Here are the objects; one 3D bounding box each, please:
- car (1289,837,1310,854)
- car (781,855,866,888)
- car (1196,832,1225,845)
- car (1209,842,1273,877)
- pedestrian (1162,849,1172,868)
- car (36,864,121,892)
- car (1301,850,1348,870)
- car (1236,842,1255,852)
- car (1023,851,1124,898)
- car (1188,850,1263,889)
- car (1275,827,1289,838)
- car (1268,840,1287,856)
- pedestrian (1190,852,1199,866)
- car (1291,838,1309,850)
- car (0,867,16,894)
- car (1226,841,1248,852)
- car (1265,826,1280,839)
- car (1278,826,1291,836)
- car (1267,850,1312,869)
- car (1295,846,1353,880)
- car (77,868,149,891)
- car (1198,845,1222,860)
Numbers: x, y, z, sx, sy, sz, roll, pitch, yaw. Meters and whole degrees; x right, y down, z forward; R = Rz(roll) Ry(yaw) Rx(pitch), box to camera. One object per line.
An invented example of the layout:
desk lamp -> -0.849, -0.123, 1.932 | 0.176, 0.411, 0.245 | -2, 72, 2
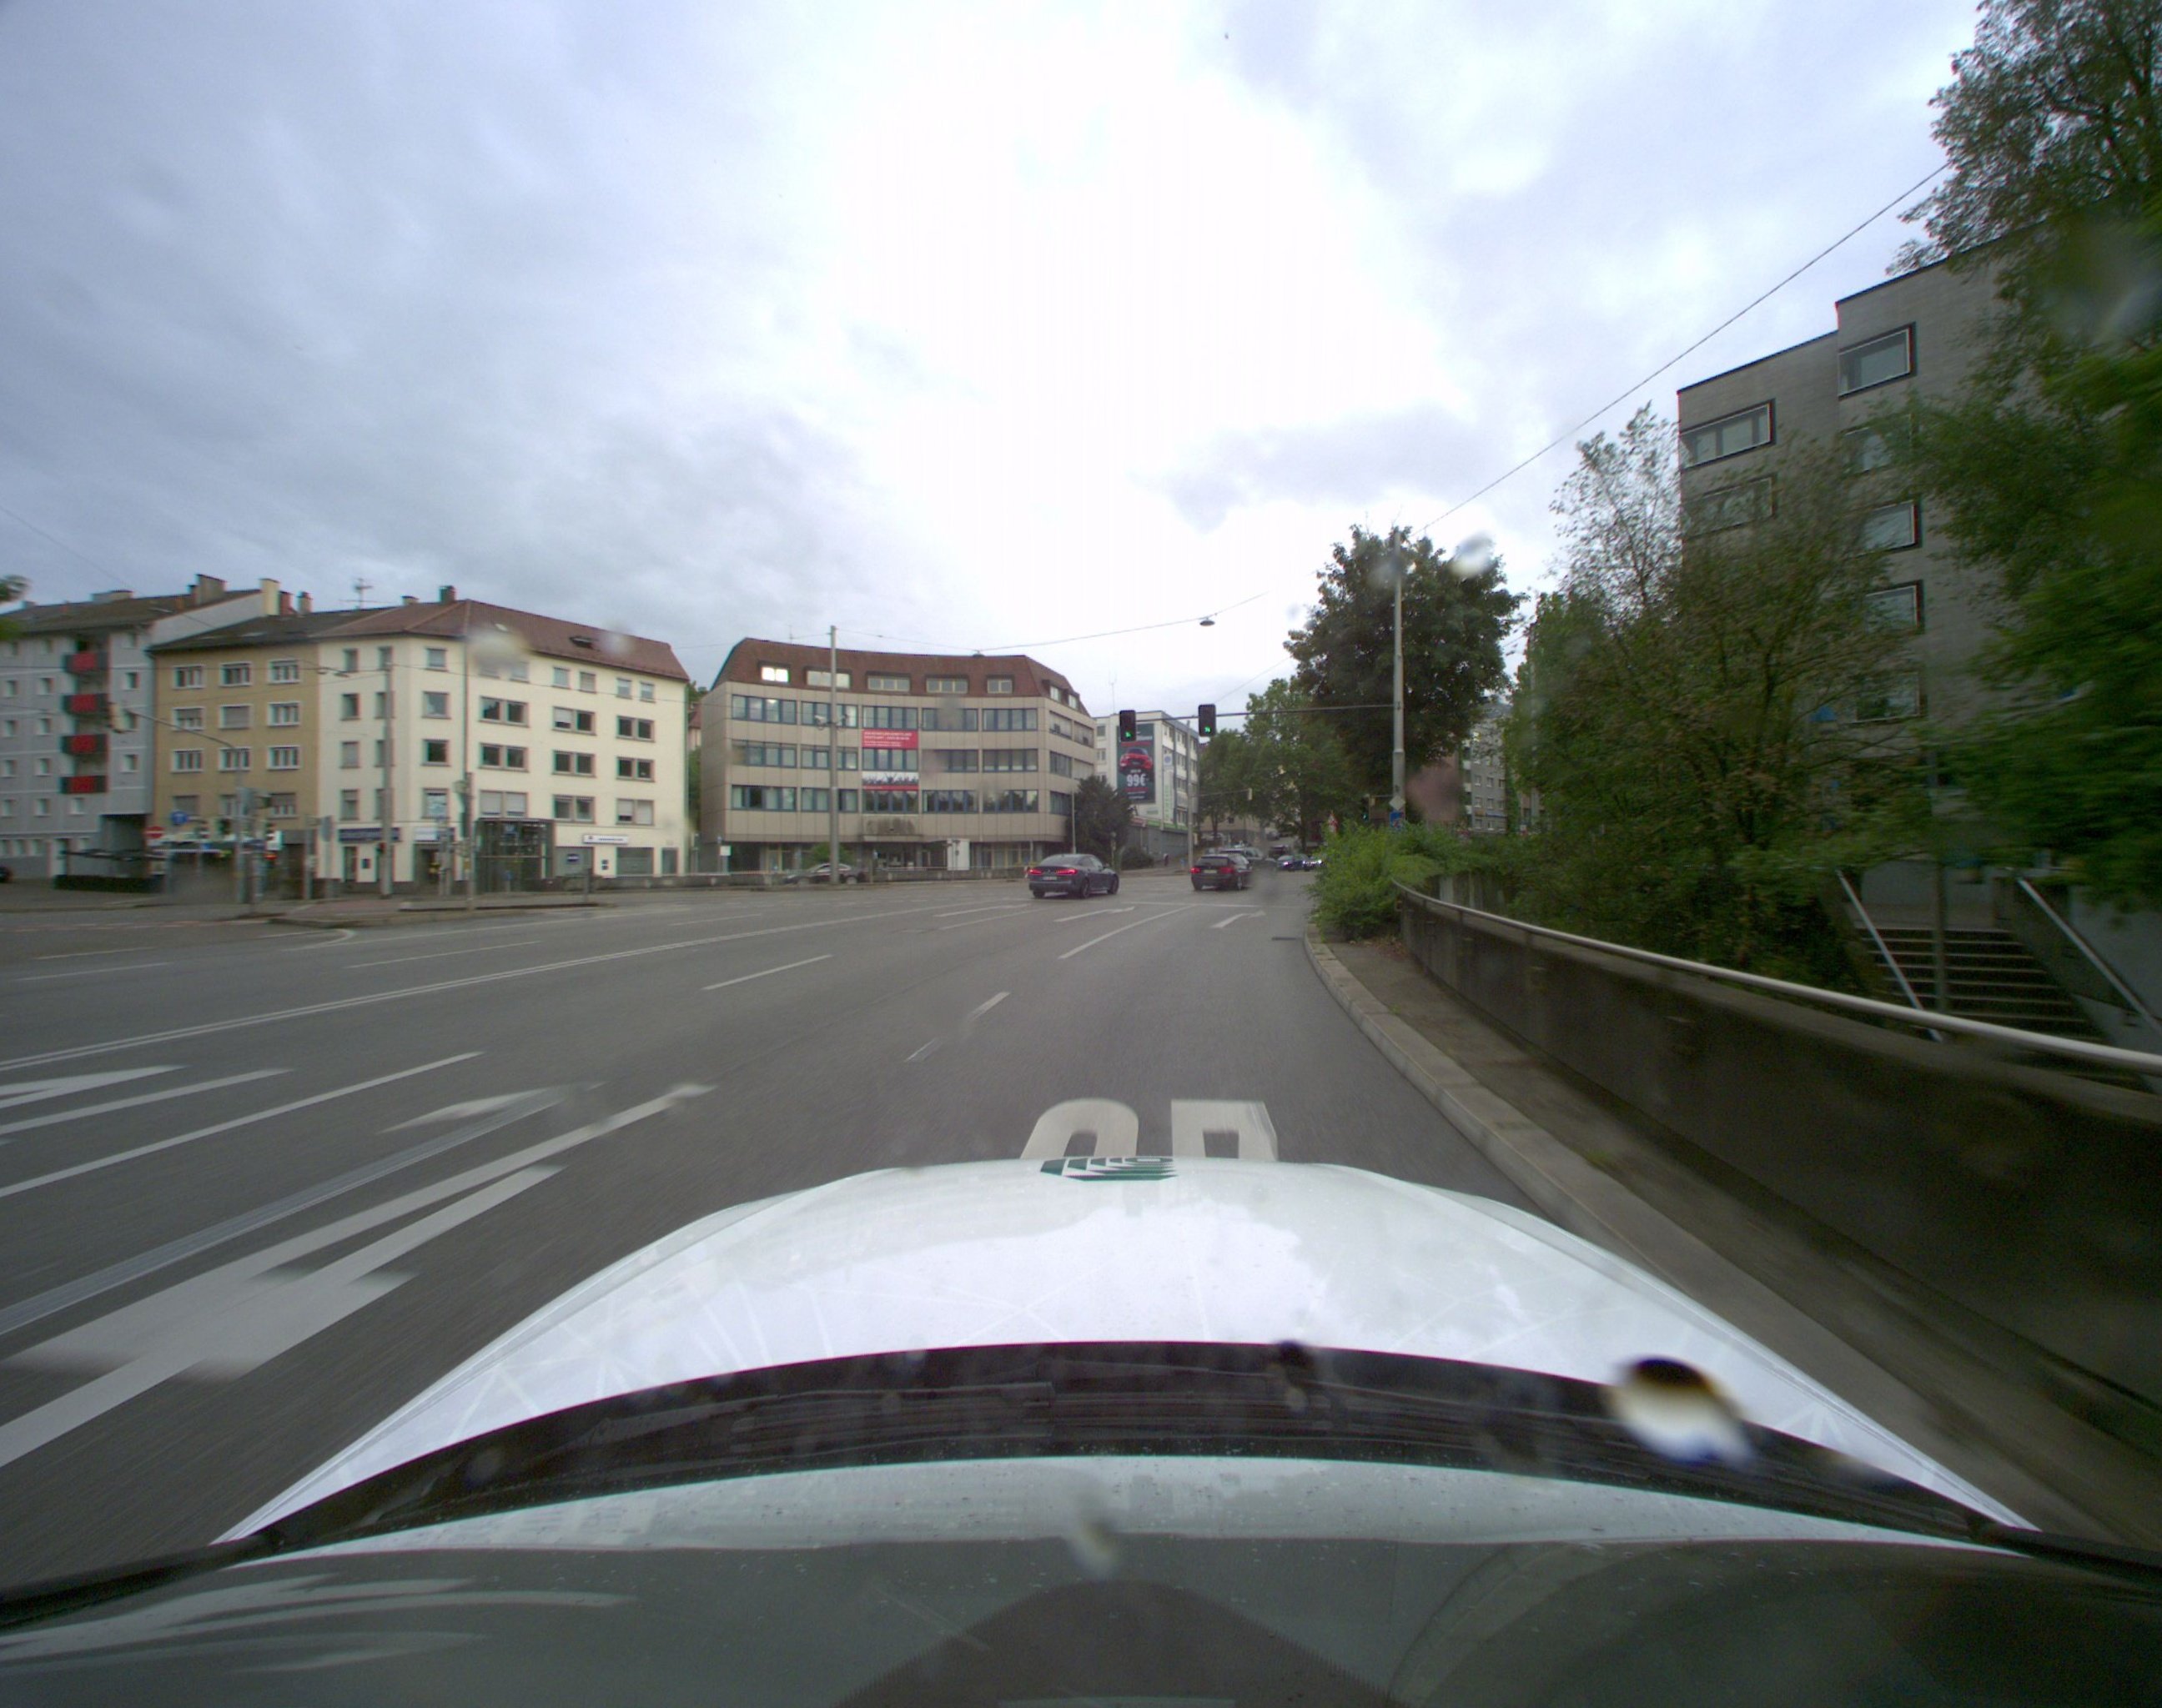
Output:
car -> 27.312, -1.093, 101.603 | 1.914, 1.867, 4.023 | -2, 3, 23
car -> -15.145, 1.008, 47.916 | 4.452, 1.843, 1.981 | -1, -2, -29
car -> 21.434, -2.589, 134.977 | 4.381, 2.006, 2.009 | -2, -1, 18
car -> 8.442, 0.302, 42.690 | 1.881, 1.693, 4.025 | -2, -2, 33
pedestrian -> 9.583, 0.494, 90.385 | 0.831, 2.014, 0.987 | -2, -2, 22
car -> -60.754, 1.458, 49.368 | 3.757, 1.591, 1.767 | -2, -1, 14
car -> 19.555, 0.484, 65.396 | 4.257, 1.512, 1.801 | 0, -2, -45
car -> 23.940, -1.035, 118.344 | 1.816, 1.431, 4.094 | -2, 0, 25
car -> -0.137, 0.638, 27.407 | 1.775, 1.426, 4.408 | -2, -1, 23
car -> 5.828, 0.564, 32.370 | 1.775, 1.426, 4.640 | 0, 0, 26
car -> 38.344, -4.113, 155.107 | 1.976, 1.842, 4.022 | -2, 3, 21
car -> 23.062, -0.711, 95.687 | 1.916, 1.868, 4.018 | 0, 1, 17
pedestrian -> 14.129, 0.573, 101.295 | 0.831, 1.717, 0.987 | -2, -2, 22
car -> 31.701, -1.443, 117.838 | 1.914, 1.674, 4.022 | -2, 0, 23
car -> -67.328, 1.645, 49.371 | 3.958, 1.591, 1.926 | -2, -1, 14
car -> 21.817, -1.061, 113.957 | 1.815, 1.431, 4.094 | -2, -1, 27
car -> 33.413, -3.701, 142.128 | 1.976, 2.014, 4.020 | -2, -1, 21
car -> 41.285, -4.695, 165.114 | 1.976, 1.842, 4.022 | -2, 3, 21
car -> 17.453, 0.420, 68.051 | 1.746, 1.512, 4.145 | -3, -2, 45
car -> 11.051, 0.420, 36.848 | 1.940, 1.427, 4.148 | -2, -1, 24
car -> -55.251, 1.449, 46.498 | 3.131, 1.230, 1.410 | -2, -1, 14
car -> 15.887, -0.225, 100.153 | 1.816, 1.463, 4.201 | -2, 3, 23
